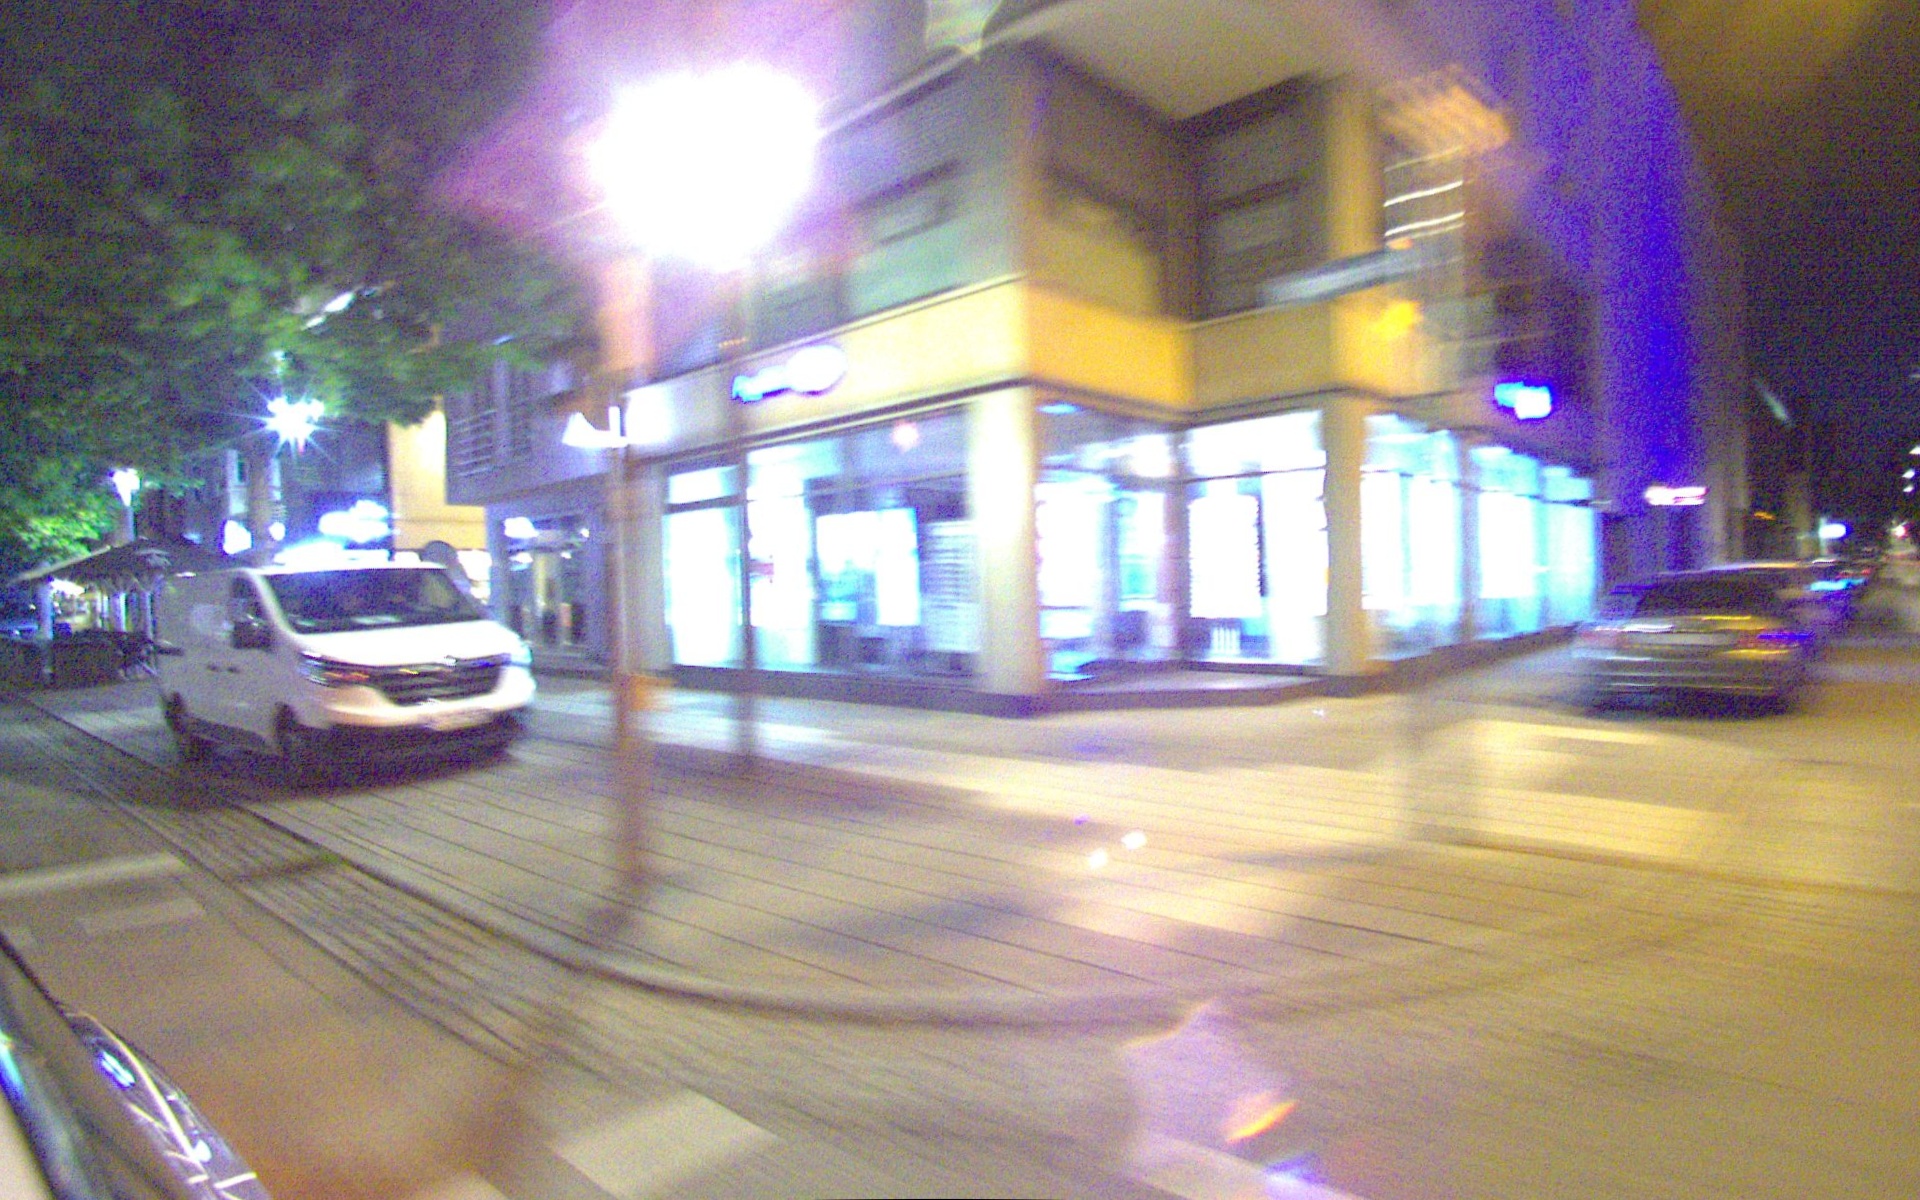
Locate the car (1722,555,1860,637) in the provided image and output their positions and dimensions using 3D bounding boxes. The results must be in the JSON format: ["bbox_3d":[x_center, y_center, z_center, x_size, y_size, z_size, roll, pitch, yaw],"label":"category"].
[{"bbox_3d":[16.066,-0.111,19.497,1.803,1.405,3.855,-2,1,43],"label":"car"}]

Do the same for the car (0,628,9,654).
[{"bbox_3d":[-58.419,2.501,60.704,4.001,1.516,1.771,-2,1,44],"label":"car"}]

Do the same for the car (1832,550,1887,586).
[{"bbox_3d":[41.829,-1.477,47.053,1.803,1.534,3.855,-2,1,43],"label":"car"}]

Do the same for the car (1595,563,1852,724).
[{"bbox_3d":[8.519,0.341,11.129,1.803,1.408,4.281,-2,1,43],"label":"car"}]

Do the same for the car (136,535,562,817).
[{"bbox_3d":[-6.145,0.580,9.880,5.084,2.102,1.835,-2,2,39],"label":"car"}]

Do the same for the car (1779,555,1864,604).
[{"bbox_3d":[26.569,-0.646,31.172,1.803,1.405,3.855,-2,1,43],"label":"car"}]

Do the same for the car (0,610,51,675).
[{"bbox_3d":[-31.909,1.408,33.733,5.077,1.980,1.904,-2,2,43],"label":"car"}]

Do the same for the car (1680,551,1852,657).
[{"bbox_3d":[12.821,0.009,15.998,1.803,1.447,4.091,-2,1,43],"label":"car"}]

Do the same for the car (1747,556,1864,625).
[{"bbox_3d":[19.073,-0.247,22.771,1.803,1.405,3.855,-2,1,43],"label":"car"}]
